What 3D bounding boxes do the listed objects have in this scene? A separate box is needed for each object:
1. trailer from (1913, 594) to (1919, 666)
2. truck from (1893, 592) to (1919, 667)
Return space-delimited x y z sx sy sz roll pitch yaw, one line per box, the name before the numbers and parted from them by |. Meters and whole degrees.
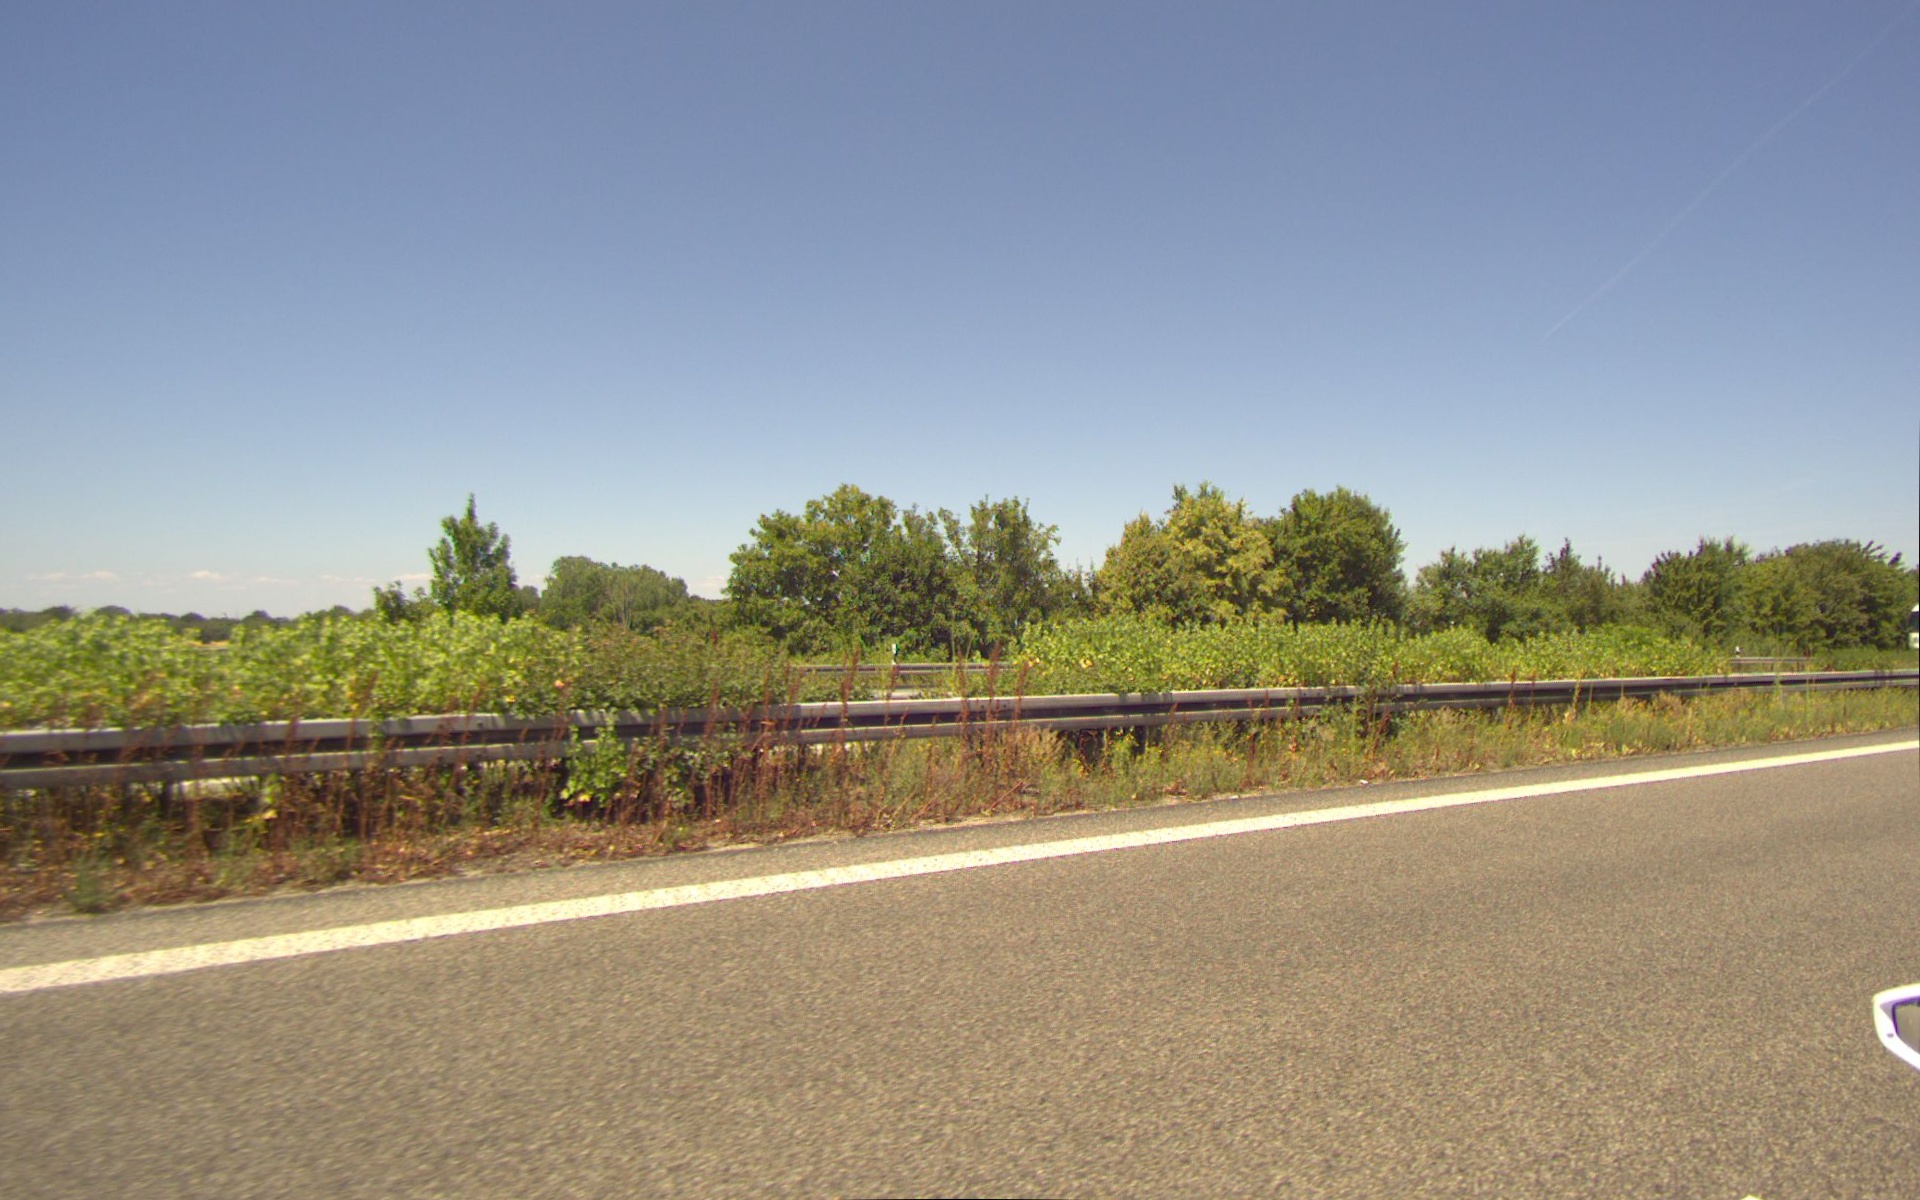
trailer | 62.480 1.886 61.058 13.383 4.241 2.906 2 -3 -30
truck | 56.612 1.721 57.556 6.122 4.183 2.903 2 -4 -30
